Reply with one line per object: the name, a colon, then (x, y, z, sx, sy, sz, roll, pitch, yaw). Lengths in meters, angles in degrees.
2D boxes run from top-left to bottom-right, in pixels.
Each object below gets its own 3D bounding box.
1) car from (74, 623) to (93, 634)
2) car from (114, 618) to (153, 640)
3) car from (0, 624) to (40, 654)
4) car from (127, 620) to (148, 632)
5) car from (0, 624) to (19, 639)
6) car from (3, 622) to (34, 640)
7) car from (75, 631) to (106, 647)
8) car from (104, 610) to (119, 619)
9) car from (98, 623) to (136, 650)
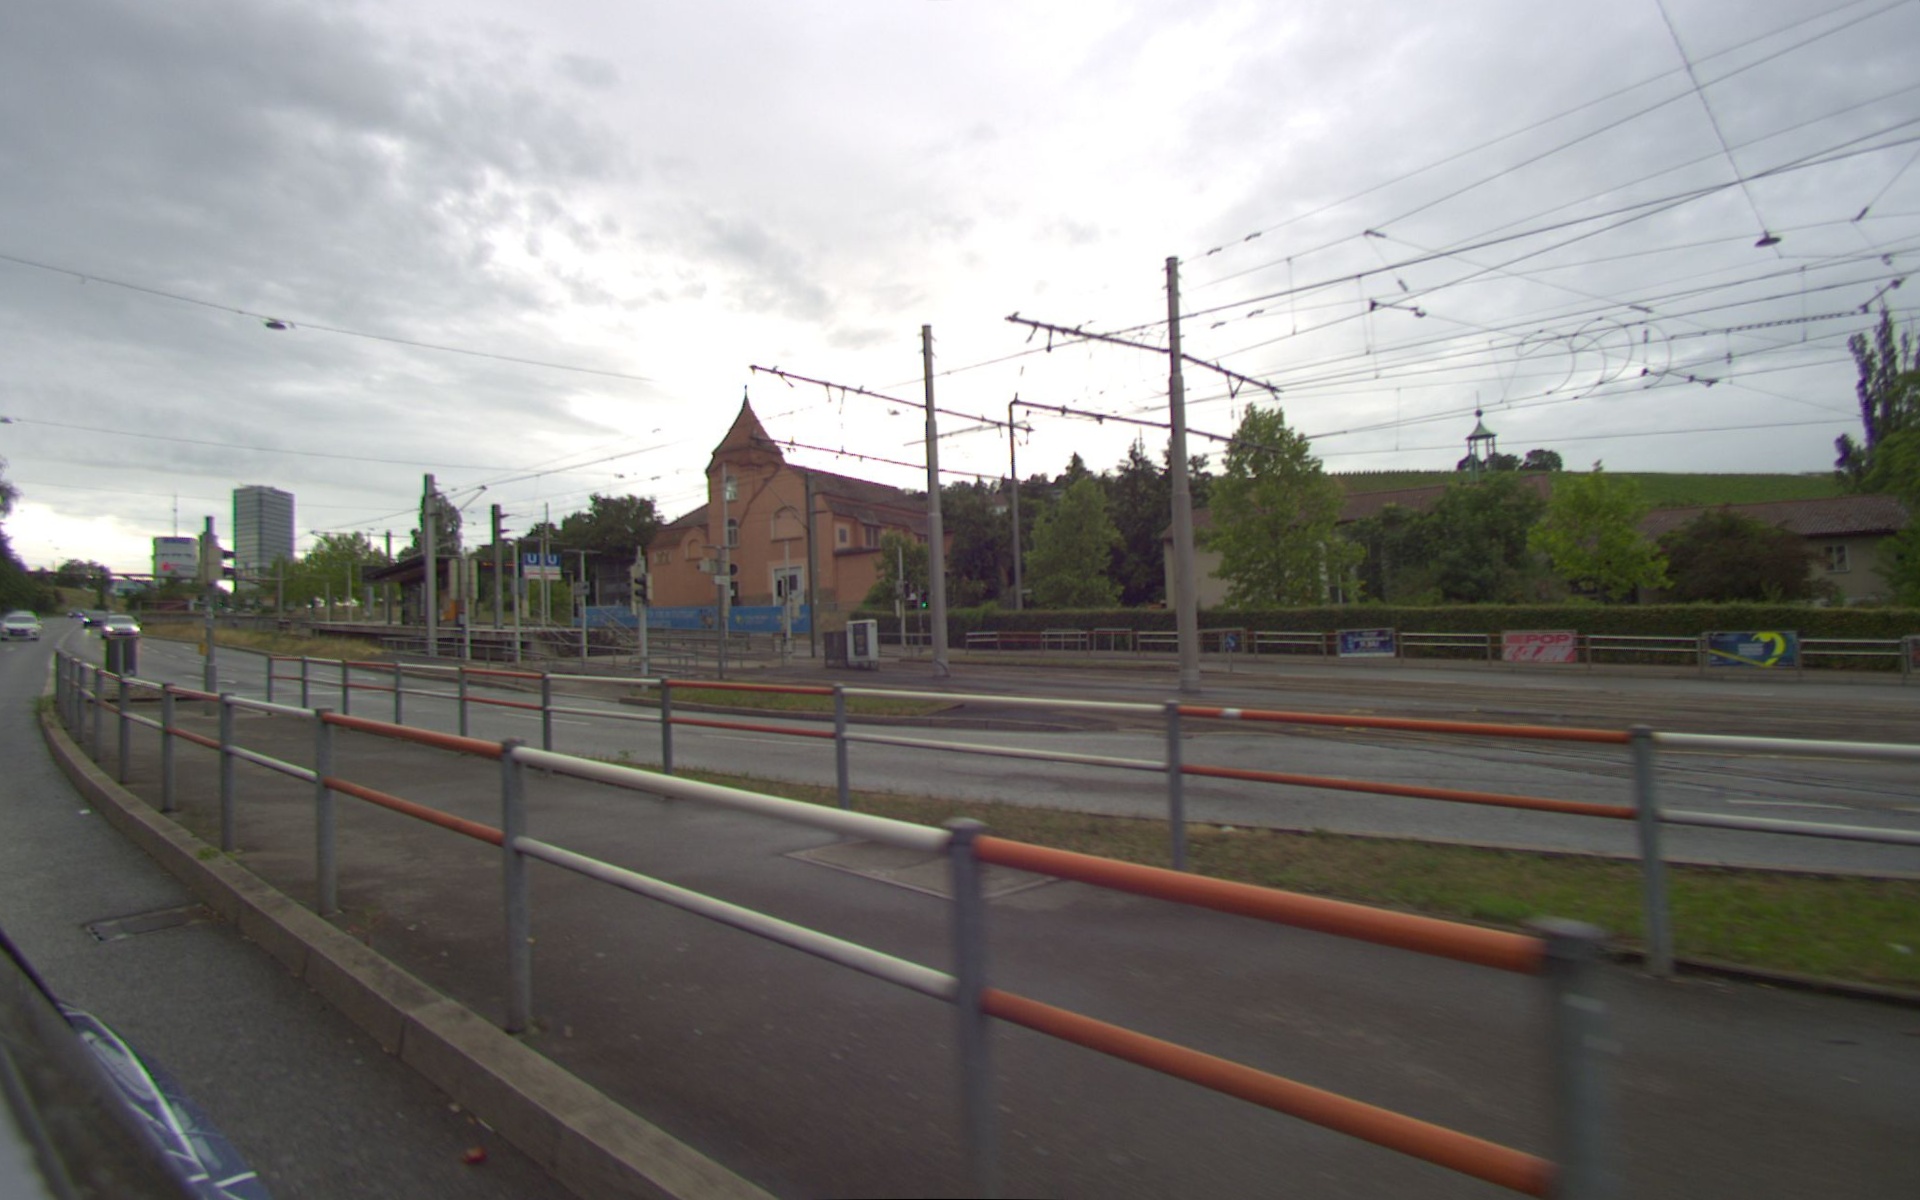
car: (-122.925, 4.025, 141.857, 1.776, 1.483, 4.003, 2, -3, -44)
car: (-67.354, 2.362, 82.440, 3.997, 1.523, 1.779, -6, -5, 40)
car: (-53.966, 2.207, 57.940, 1.713, 1.600, 4.006, 1, -2, -40)
car: (-103.684, 3.274, 127.543, 1.776, 1.483, 4.003, 2, -3, -44)
car: (-95.815, 3.214, 101.665, 1.776, 1.483, 4.003, 2, -3, -44)
car: (-78.620, 2.577, 84.473, 1.776, 1.483, 4.003, 2, -3, -44)
car: (-80.667, 3.645, 93.897, 4.000, 1.483, 1.777, -2, -3, 44)
car: (-142.746, 2.489, 170.282, 1.774, 1.483, 4.007, 1, -3, -39)
car: (-52.324, 2.239, 62.796, 1.713, 1.600, 4.006, 1, -2, -40)
